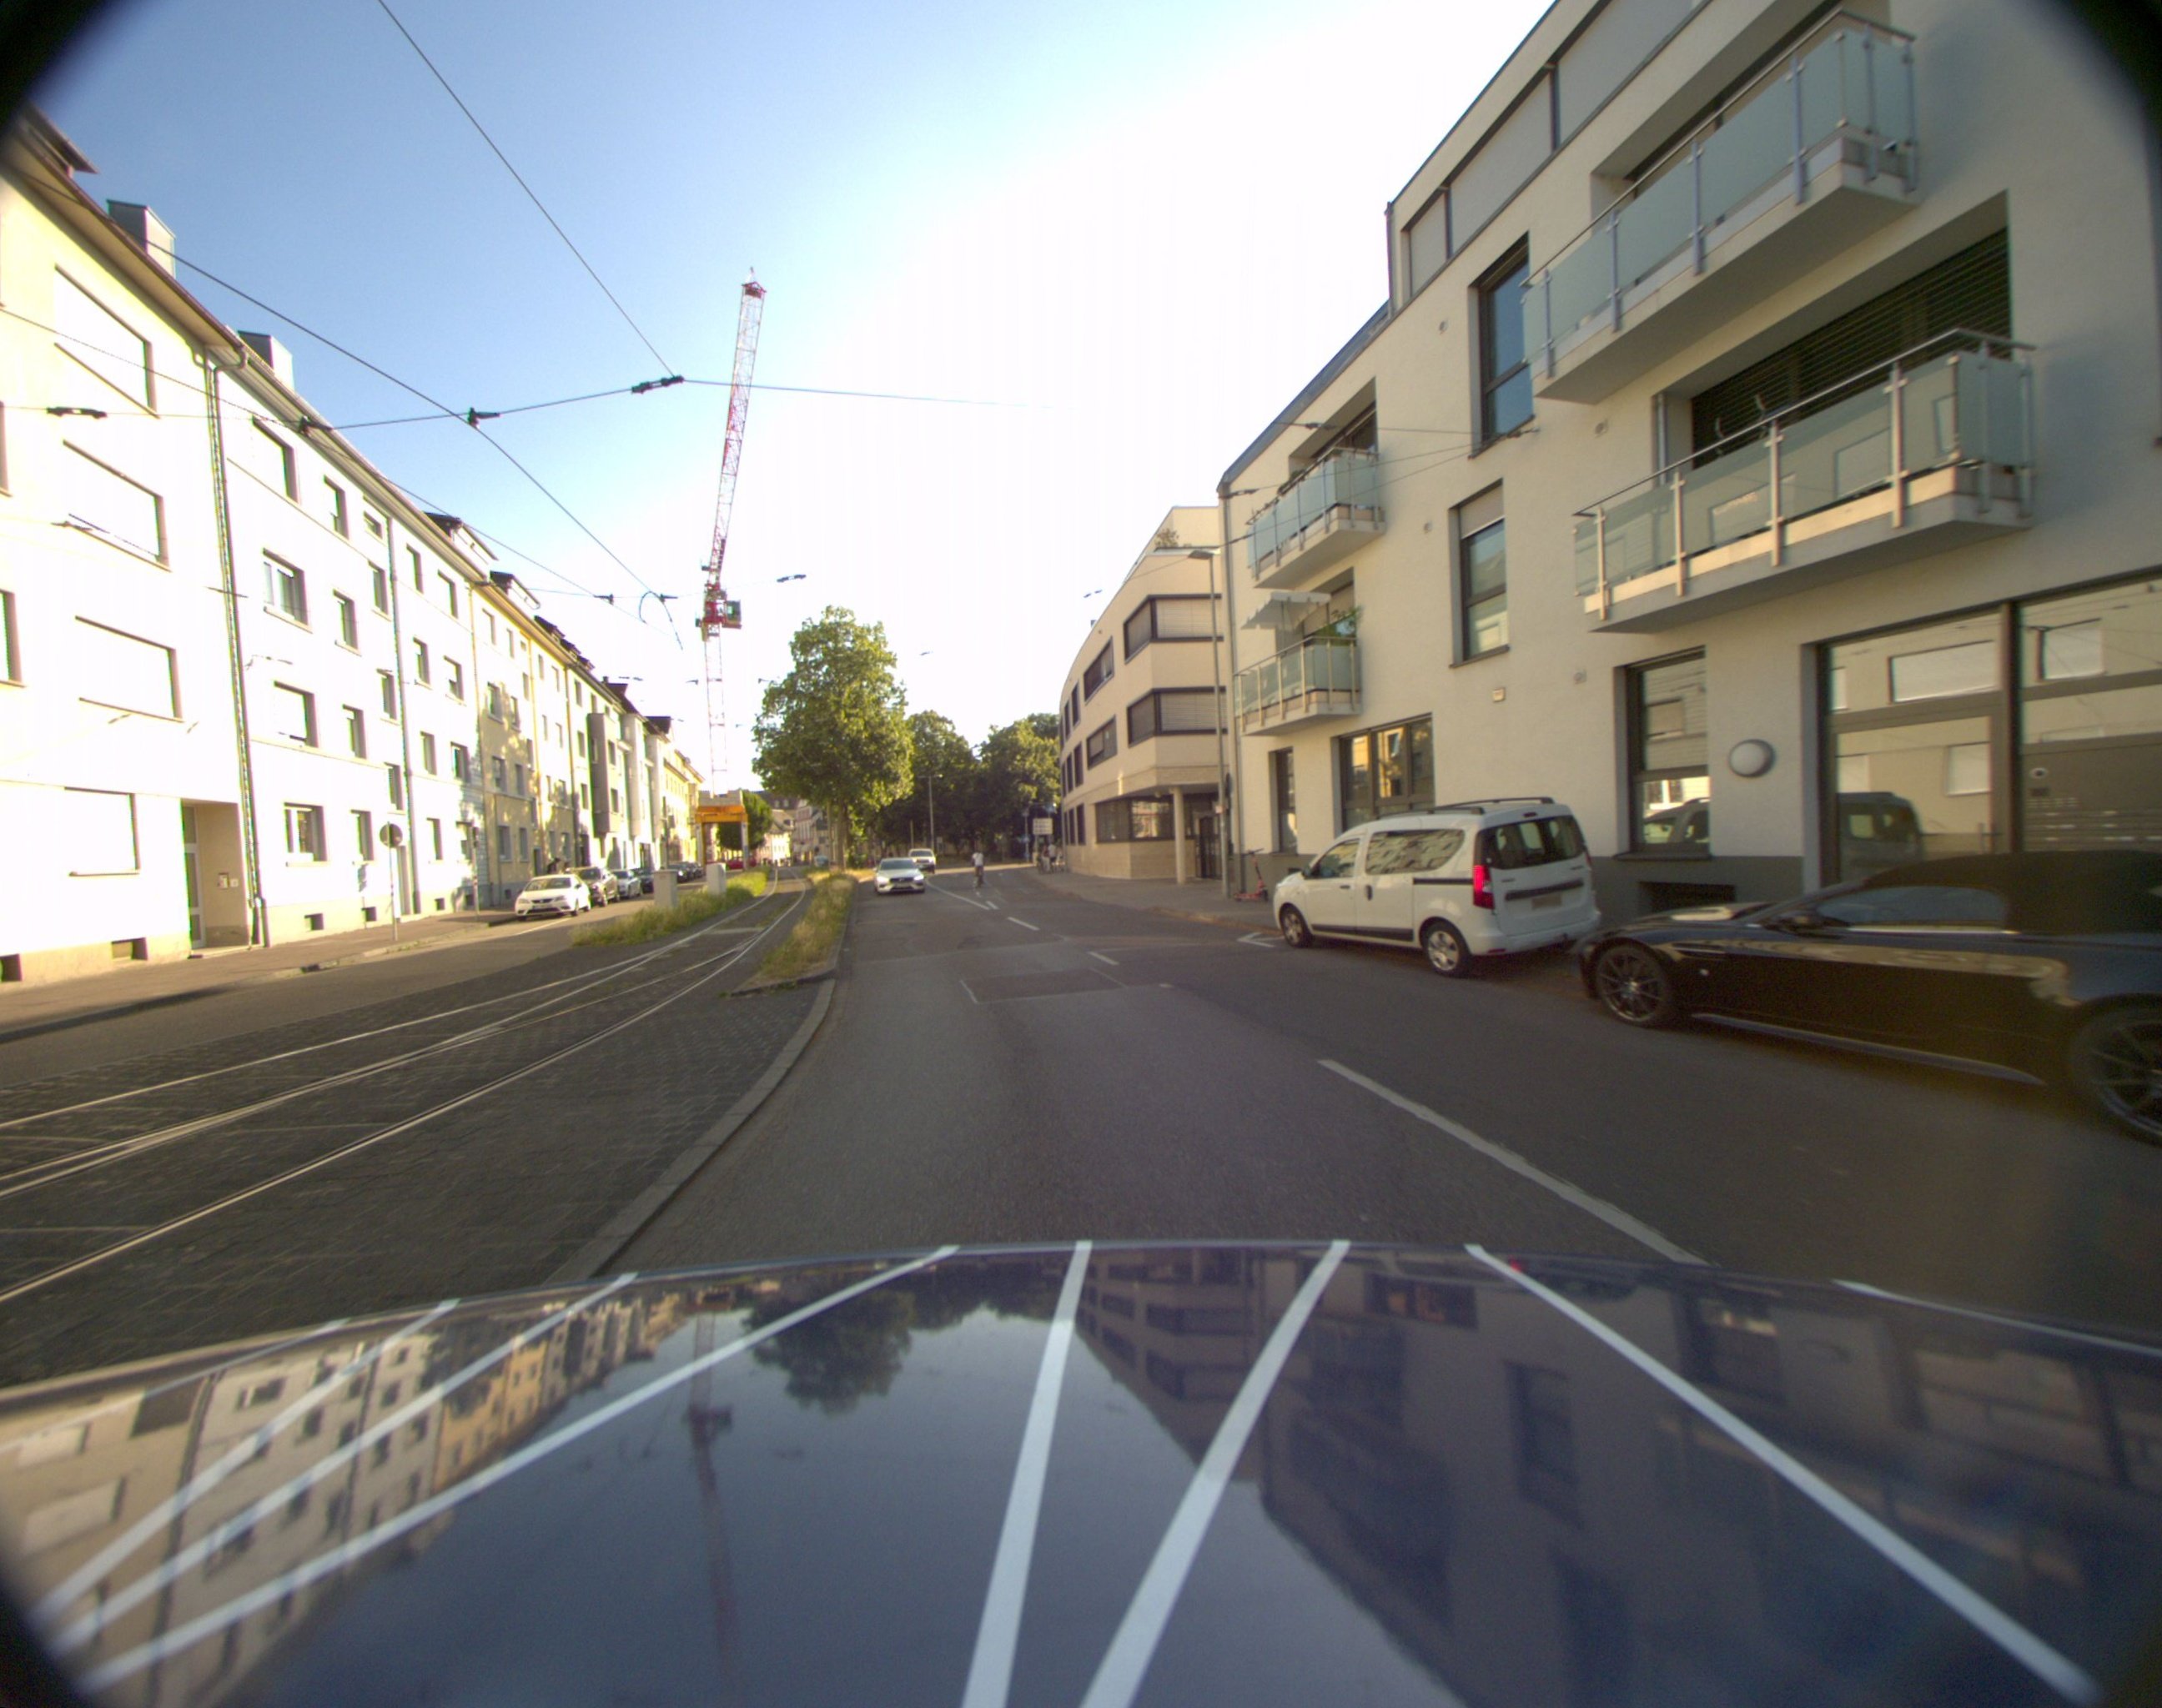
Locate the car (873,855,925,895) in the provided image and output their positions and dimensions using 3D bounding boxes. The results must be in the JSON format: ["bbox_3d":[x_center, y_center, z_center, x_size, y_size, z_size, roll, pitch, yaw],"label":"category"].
[{"bbox_3d":[-7.593,0.815,31.565,1.855,1.455,4.766,-2,0,-14],"label":"car"}]

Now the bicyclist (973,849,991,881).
[{"bbox_3d":[-4.443,0.490,34.079,0.625,1.372,0.800,-2,2,-15],"label":"bicyclist"}]

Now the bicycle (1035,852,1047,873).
[{"bbox_3d":[-2.370,0.493,45.300,0.441,1.171,1.967,-3,0,4],"label":"bicycle"}]

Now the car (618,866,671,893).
[{"bbox_3d":[-24.541,1.404,42.871,2.002,1.378,4.438,-2,0,-23],"label":"car"}]

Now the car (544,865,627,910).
[{"bbox_3d":[-20.259,1.300,31.273,2.002,1.563,4.632,-2,1,-23],"label":"car"}]

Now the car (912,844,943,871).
[{"bbox_3d":[-11.649,0.257,57.309,2.001,1.843,4.896,-2,0,-14],"label":"car"}]

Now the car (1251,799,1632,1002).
[{"bbox_3d":[4.152,0.416,9.676,1.818,1.859,4.325,-5,2,-18],"label":"car"}]

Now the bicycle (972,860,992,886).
[{"bbox_3d":[-4.436,0.849,34.093,0.625,1.075,1.781,-2,1,-15],"label":"bicycle"}]

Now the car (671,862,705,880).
[{"bbox_3d":[-33.705,1.438,65.230,2.002,1.378,4.202,-2,0,-20],"label":"car"}]

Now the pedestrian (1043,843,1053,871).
[{"bbox_3d":[-1.968,0.204,45.323,0.475,1.638,0.602,-3,1,2],"label":"pedestrian"}]

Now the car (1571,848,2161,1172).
[{"bbox_3d":[5.293,0.681,4.438,1.670,1.266,4.020,-5,2,-13],"label":"car"}]

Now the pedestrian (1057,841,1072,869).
[{"bbox_3d":[-1.057,0.055,48.684,0.704,1.704,0.842,-4,2,-9],"label":"pedestrian"}]

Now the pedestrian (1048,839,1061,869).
[{"bbox_3d":[-1.678,0.006,48.584,0.607,1.839,0.991,-4,2,-9],"label":"pedestrian"}]

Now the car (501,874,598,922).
[{"bbox_3d":[-18.307,1.438,26.399,2.002,1.378,4.437,-2,0,-26],"label":"car"}]

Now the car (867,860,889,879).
[{"bbox_3d":[-18.802,1.398,70.459,1.716,1.607,3.995,-3,1,-13],"label":"car"}]

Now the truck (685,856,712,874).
[{"bbox_3d":[-37.521,1.060,74.573,2.002,1.576,4.090,-2,0,-22],"label":"truck"}]

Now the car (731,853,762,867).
[{"bbox_3d":[-49.852,0.959,113.150,4.076,1.910,1.996,-2,0,-24],"label":"car"}]

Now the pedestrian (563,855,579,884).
[{"bbox_3d":[-26.480,0.806,39.462,0.526,1.432,0.460,-3,2,-22],"label":"pedestrian"}]

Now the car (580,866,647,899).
[{"bbox_3d":[-22.216,1.298,36.274,2.002,1.378,4.438,-2,0,-23],"label":"car"}]

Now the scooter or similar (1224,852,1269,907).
[{"bbox_3d":[3.805,0.584,17.510,0.225,1.213,1.152,-5,1,-30],"label":"scooter or similar"}]

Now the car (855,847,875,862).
[{"bbox_3d":[-28.333,0.053,99.582,2.002,1.784,3.992,-4,2,-22],"label":"car"}]
